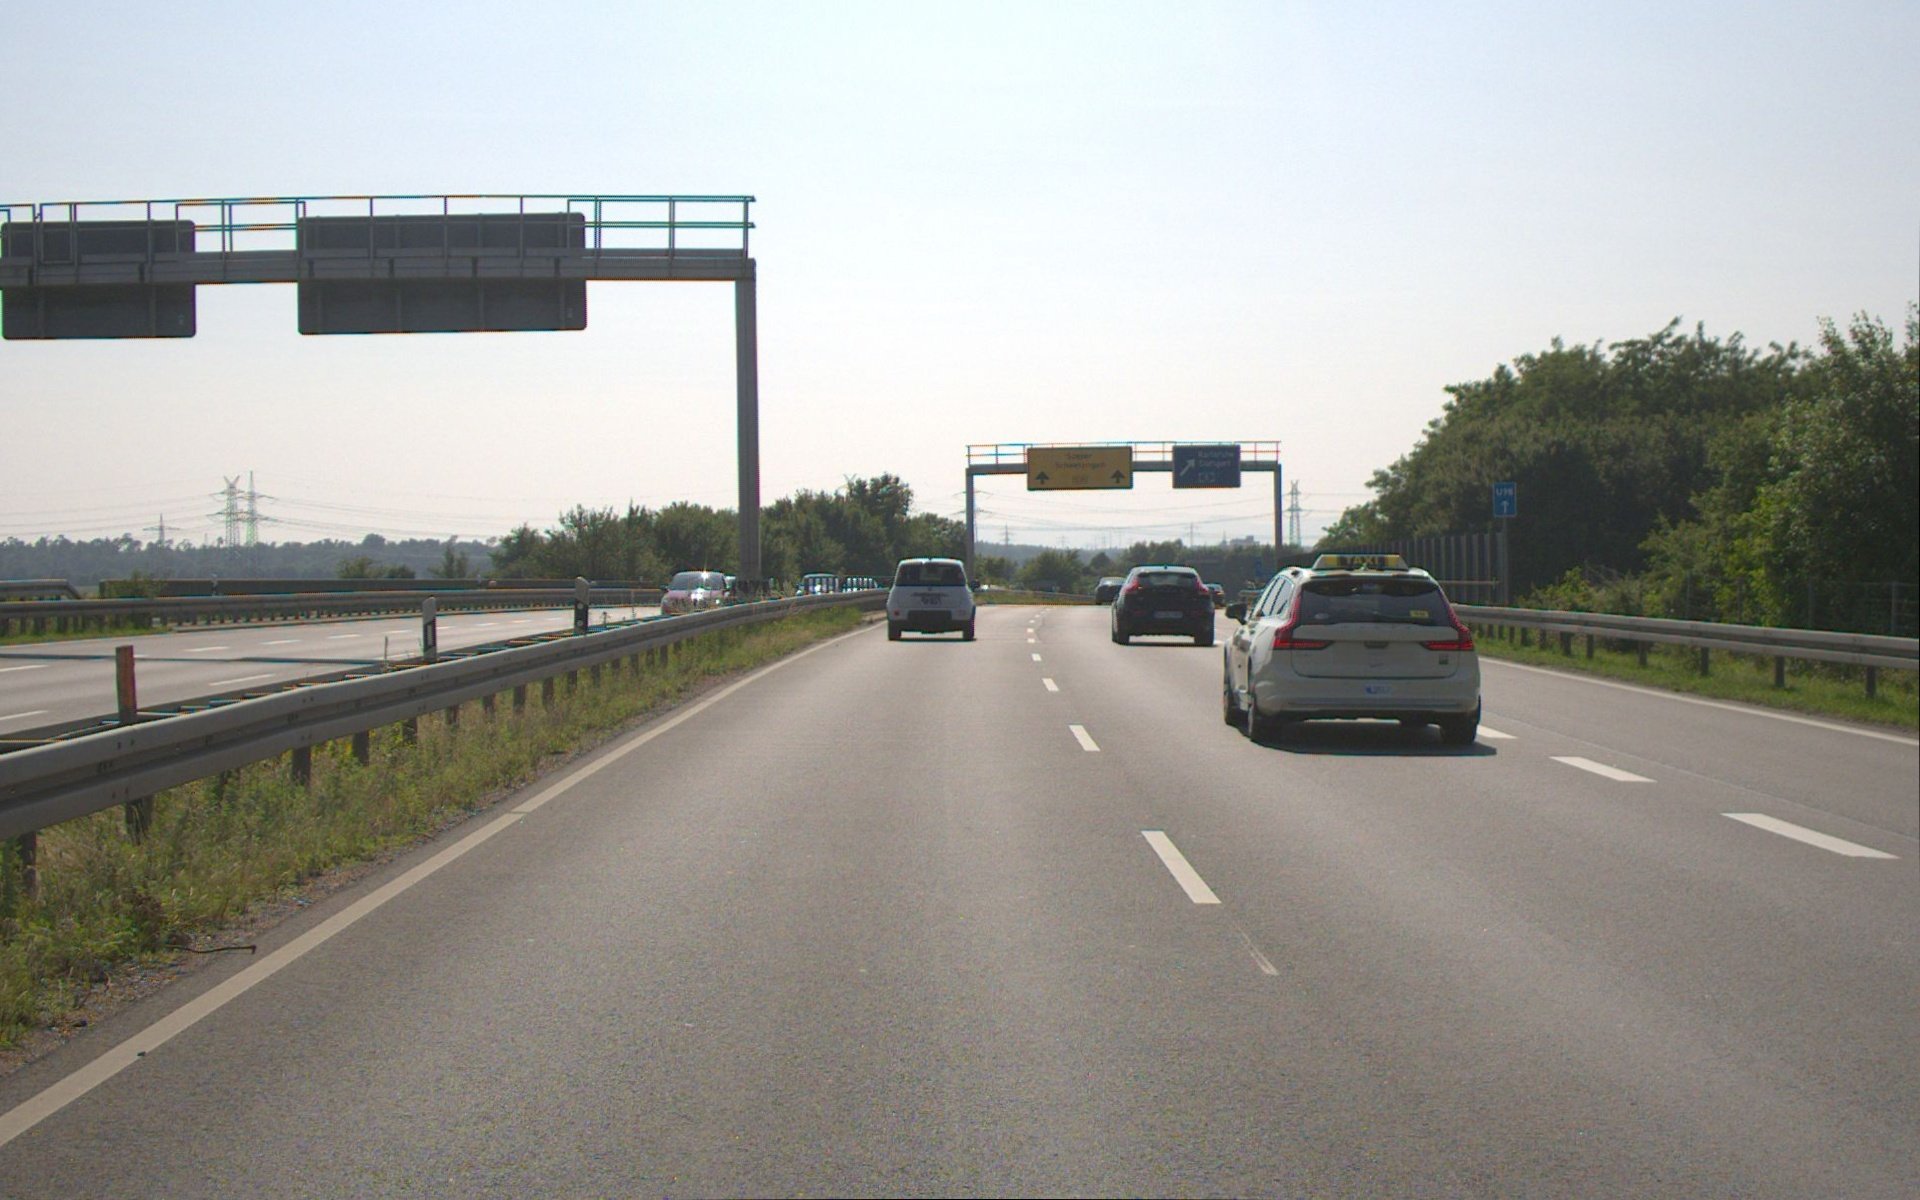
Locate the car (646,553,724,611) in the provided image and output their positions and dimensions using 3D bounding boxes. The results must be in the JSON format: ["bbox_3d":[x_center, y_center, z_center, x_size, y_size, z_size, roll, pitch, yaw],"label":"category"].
[{"bbox_3d":[-7.278,-0.498,91.242,1.710,1.481,4.266,1,1,0],"label":"car"}]

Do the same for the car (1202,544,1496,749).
[{"bbox_3d":[3.246,0.340,29.456,1.958,1.596,4.107,1,1,-1],"label":"car"}]

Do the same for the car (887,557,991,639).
[{"bbox_3d":[-0.366,-0.041,65.697,1.793,1.498,4.043,-1,0,2],"label":"car"}]

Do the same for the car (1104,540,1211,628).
[{"bbox_3d":[3.583,-0.278,62.975,1.793,1.538,3.671,1,0,1],"label":"car"}]

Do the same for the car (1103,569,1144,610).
[{"bbox_3d":[8.462,-0.555,178.266,1.993,2.007,4.000,1,1,1],"label":"car"}]
